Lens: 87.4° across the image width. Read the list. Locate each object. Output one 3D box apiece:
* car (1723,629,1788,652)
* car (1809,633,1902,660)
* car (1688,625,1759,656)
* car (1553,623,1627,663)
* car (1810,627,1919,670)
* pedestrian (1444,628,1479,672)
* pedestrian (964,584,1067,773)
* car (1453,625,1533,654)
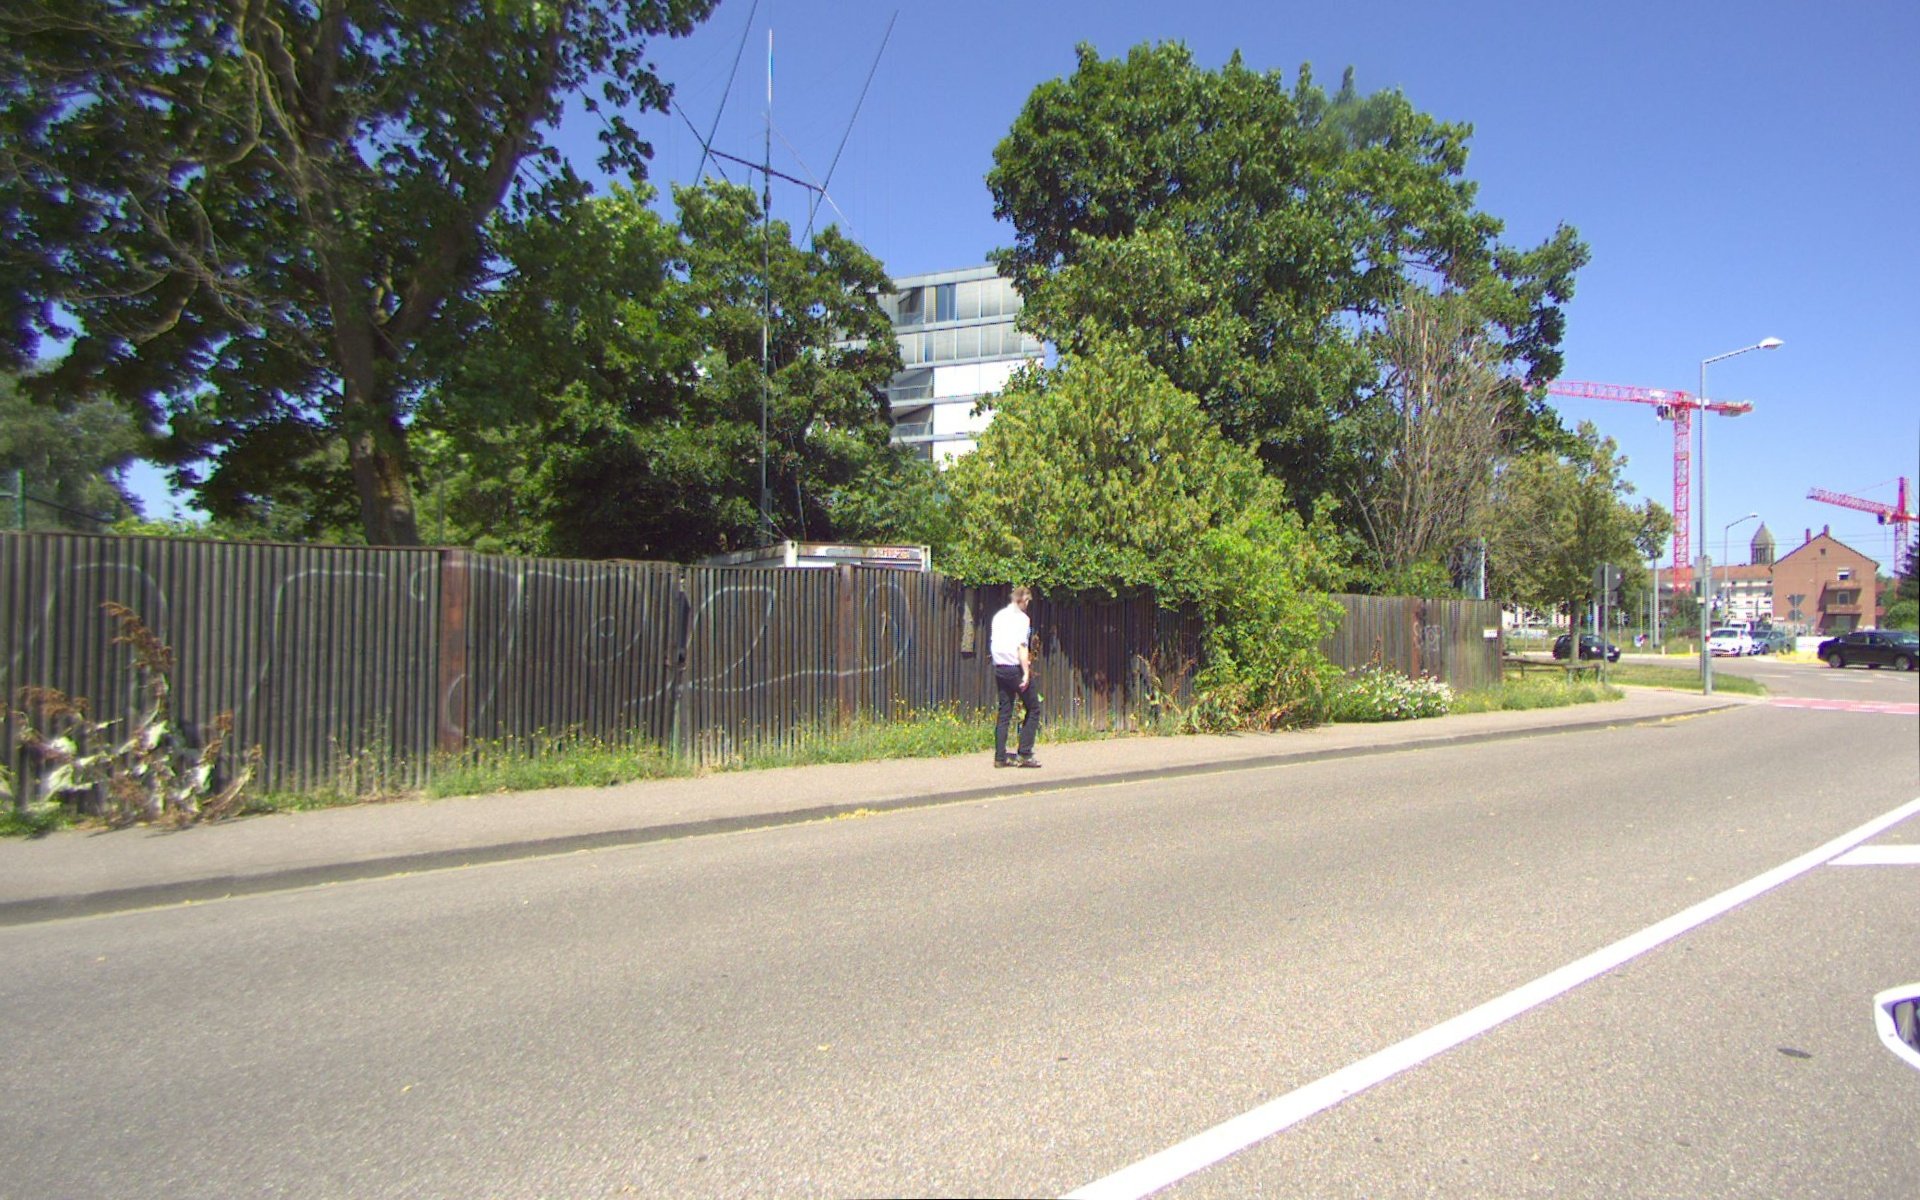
[{"bbox_3d":[46.526,2.346,58.736,3.742,1.253,1.699,2,-1,-30],"label":"car"},{"bbox_3d":[55.625,2.865,62.452,4.136,1.520,1.713,1,-1,3],"label":"car"},{"bbox_3d":[41.926,2.220,55.132,3.953,1.570,1.748,2,-1,-30],"label":"car"},{"bbox_3d":[32.101,2.152,51.301,1.959,1.840,4.002,1,-1,12],"label":"car"},{"bbox_3d":[35.103,1.796,38.155,1.787,1.466,4.533,1,-1,0],"label":"car"},{"bbox_3d":[18.820,1.862,37.703,0.796,1.584,0.876,1,0,-7],"label":"pedestrian"},{"bbox_3d":[0.567,0.774,10.254,0.841,1.849,0.589,1,0,-30],"label":"pedestrian"},{"bbox_3d":[33.888,2.498,64.045,1.964,1.678,4.946,1,-1,-9],"label":"car"}]
